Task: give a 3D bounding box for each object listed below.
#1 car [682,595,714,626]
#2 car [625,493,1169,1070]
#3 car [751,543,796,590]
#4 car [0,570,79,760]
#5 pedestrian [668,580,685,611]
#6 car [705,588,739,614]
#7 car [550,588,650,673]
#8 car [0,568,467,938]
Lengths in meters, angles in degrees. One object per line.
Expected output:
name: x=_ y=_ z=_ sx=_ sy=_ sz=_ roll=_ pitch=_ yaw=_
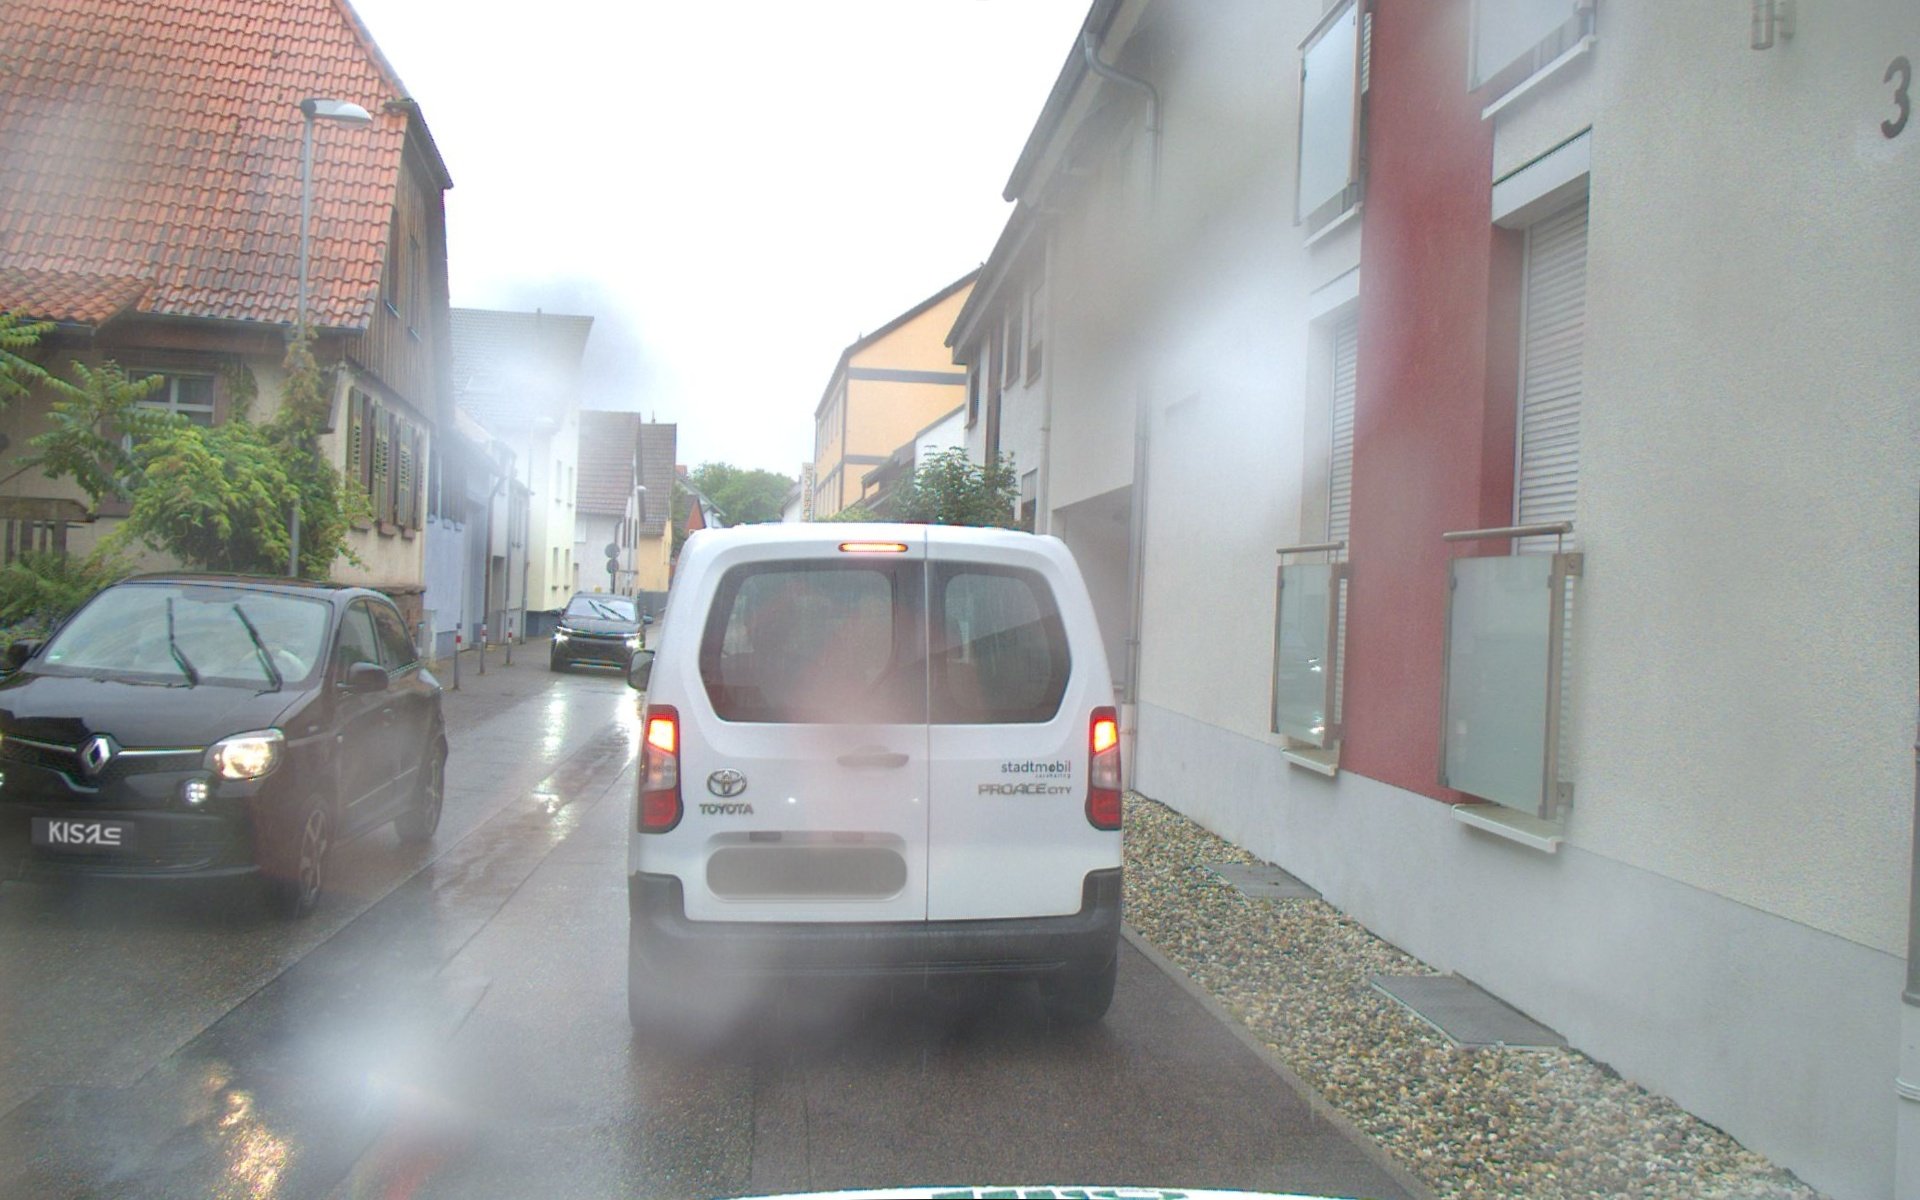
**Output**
car: x=-13.133 y=0.530 z=82.830 sx=1.532 sy=1.503 sz=3.990 roll=1 pitch=0 yaw=-10
car: x=-0.489 y=0.588 z=7.316 sx=1.742 sy=1.811 sz=3.991 roll=1 pitch=0 yaw=-9
car: x=-8.569 y=-1.496 z=76.171 sx=1.955 sy=2.049 sz=3.995 roll=1 pitch=0 yaw=-6
car: x=-9.395 y=0.303 z=12.945 sx=3.908 sy=1.450 sz=1.735 roll=7 pitch=-1 yaw=-1
pedestrian: x=-17.803 y=-0.291 z=103.796 sx=1.031 sy=1.926 sz=0.875 roll=1 pitch=-1 yaw=-9
car: x=-13.526 y=0.035 z=93.875 sx=1.747 sy=1.419 sz=3.990 roll=1 pitch=0 yaw=-10
car: x=-7.453 y=0.598 z=34.553 sx=1.799 sy=1.583 sz=4.229 roll=2 pitch=0 yaw=-10
car: x=-3.780 y=0.654 z=8.862 sx=1.574 sy=1.539 sz=3.681 roll=2 pitch=0 yaw=-8
